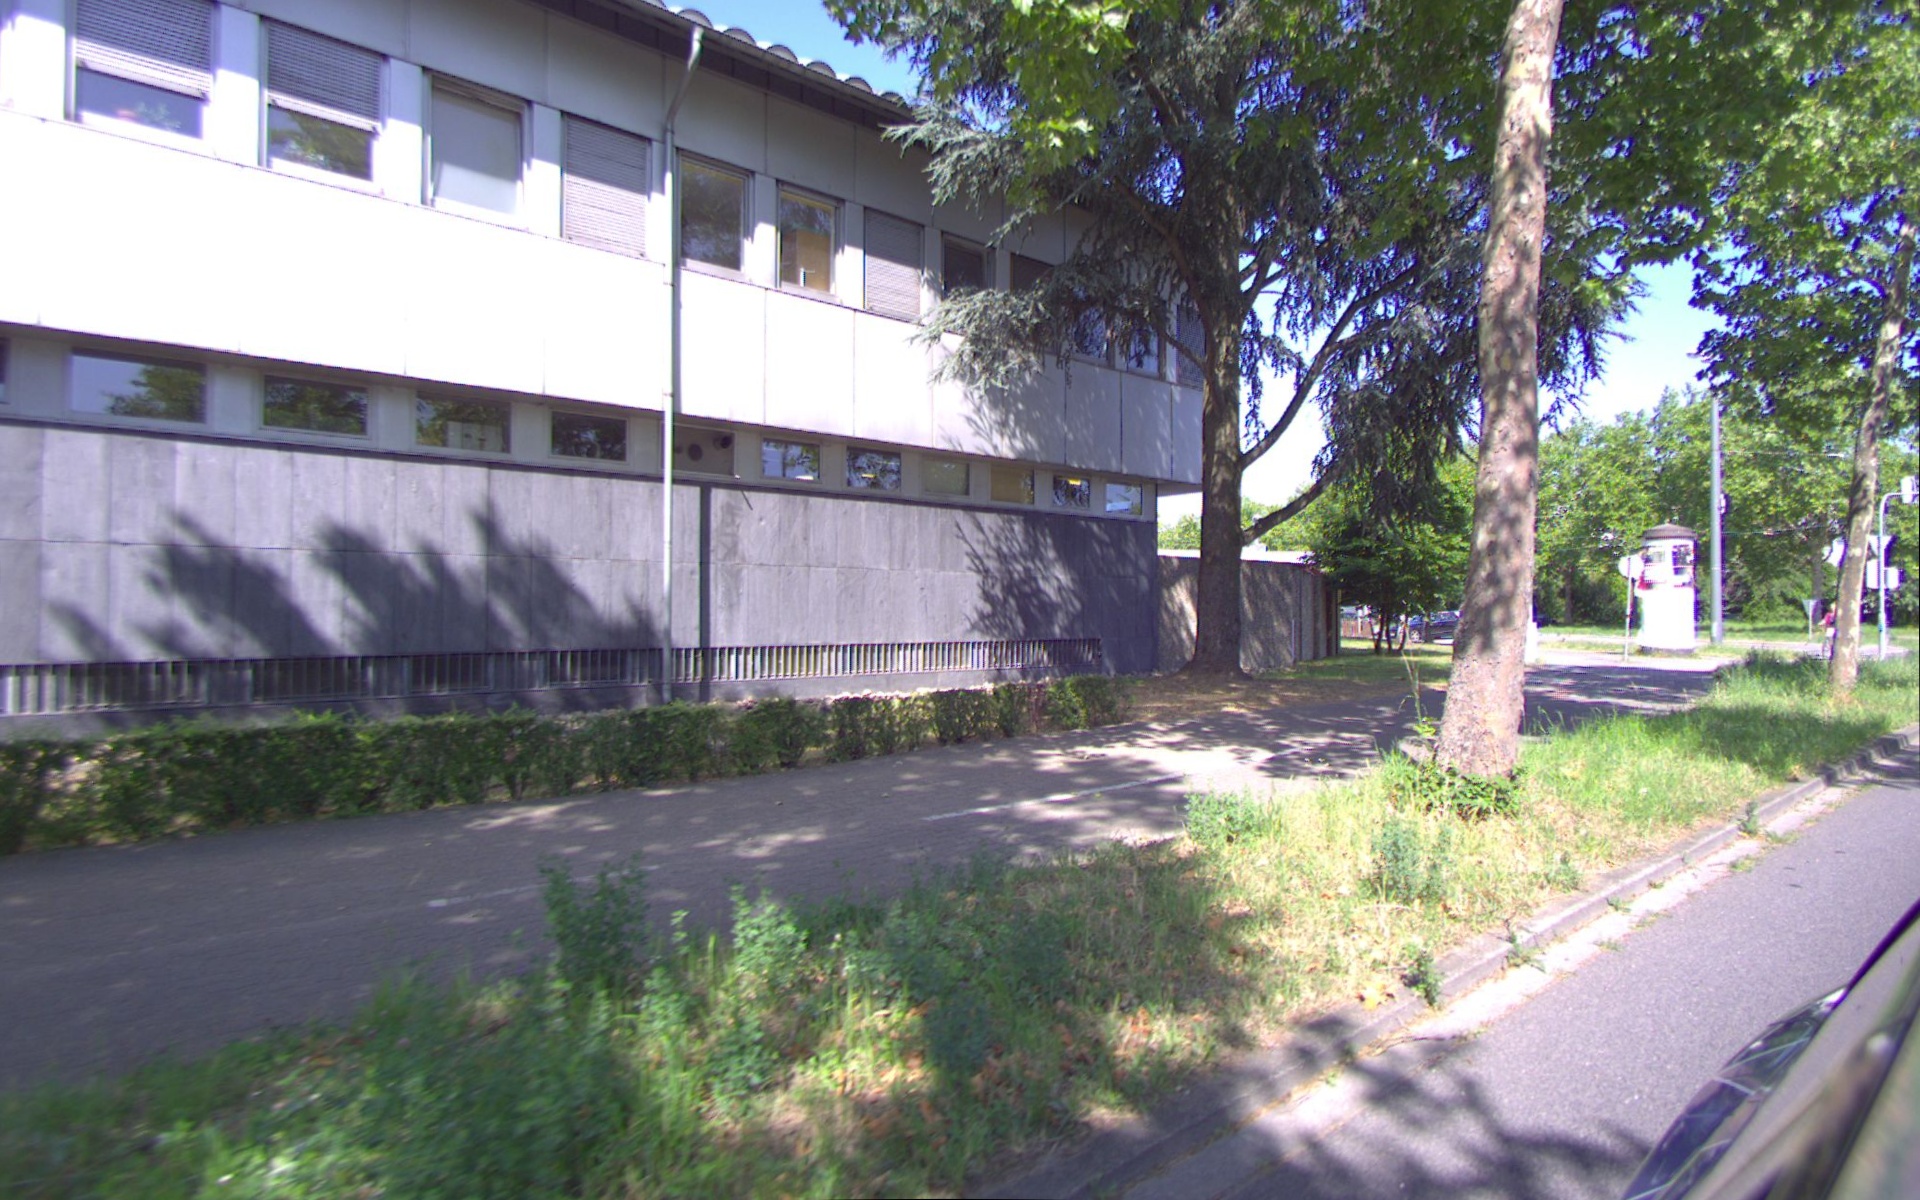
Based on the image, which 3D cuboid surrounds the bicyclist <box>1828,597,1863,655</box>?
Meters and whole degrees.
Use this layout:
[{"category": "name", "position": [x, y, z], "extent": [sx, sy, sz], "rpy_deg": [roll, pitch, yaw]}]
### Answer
[{"category": "bicyclist", "position": [27.806, 0.810, 31.773], "extent": [0.795, 1.810, 0.702], "rpy_deg": [1, -1, -39]}]

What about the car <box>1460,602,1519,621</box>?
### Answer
[{"category": "car", "position": [45.414, 0.984, 86.831], "extent": [4.263, 1.509, 2.004], "rpy_deg": [1, 0, -18]}]

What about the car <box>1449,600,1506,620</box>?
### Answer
[{"category": "car", "position": [45.740, 0.885, 89.520], "extent": [4.263, 1.654, 2.003], "rpy_deg": [1, -2, -18]}]

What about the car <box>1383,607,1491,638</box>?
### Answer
[{"category": "car", "position": [25.807, 1.209, 54.827], "extent": [5.012, 1.517, 2.147], "rpy_deg": [-1, 0, -14]}]

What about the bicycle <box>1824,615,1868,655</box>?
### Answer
[{"category": "bicycle", "position": [27.865, 1.083, 31.827], "extent": [2.086, 1.200, 0.693], "rpy_deg": [1, -1, -39]}]

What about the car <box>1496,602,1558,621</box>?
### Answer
[{"category": "car", "position": [45.896, 0.899, 81.877], "extent": [4.263, 1.509, 2.004], "rpy_deg": [0, 0, -18]}]

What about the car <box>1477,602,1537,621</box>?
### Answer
[{"category": "car", "position": [45.475, 0.984, 84.193], "extent": [4.263, 1.509, 2.004], "rpy_deg": [1, 0, -18]}]
